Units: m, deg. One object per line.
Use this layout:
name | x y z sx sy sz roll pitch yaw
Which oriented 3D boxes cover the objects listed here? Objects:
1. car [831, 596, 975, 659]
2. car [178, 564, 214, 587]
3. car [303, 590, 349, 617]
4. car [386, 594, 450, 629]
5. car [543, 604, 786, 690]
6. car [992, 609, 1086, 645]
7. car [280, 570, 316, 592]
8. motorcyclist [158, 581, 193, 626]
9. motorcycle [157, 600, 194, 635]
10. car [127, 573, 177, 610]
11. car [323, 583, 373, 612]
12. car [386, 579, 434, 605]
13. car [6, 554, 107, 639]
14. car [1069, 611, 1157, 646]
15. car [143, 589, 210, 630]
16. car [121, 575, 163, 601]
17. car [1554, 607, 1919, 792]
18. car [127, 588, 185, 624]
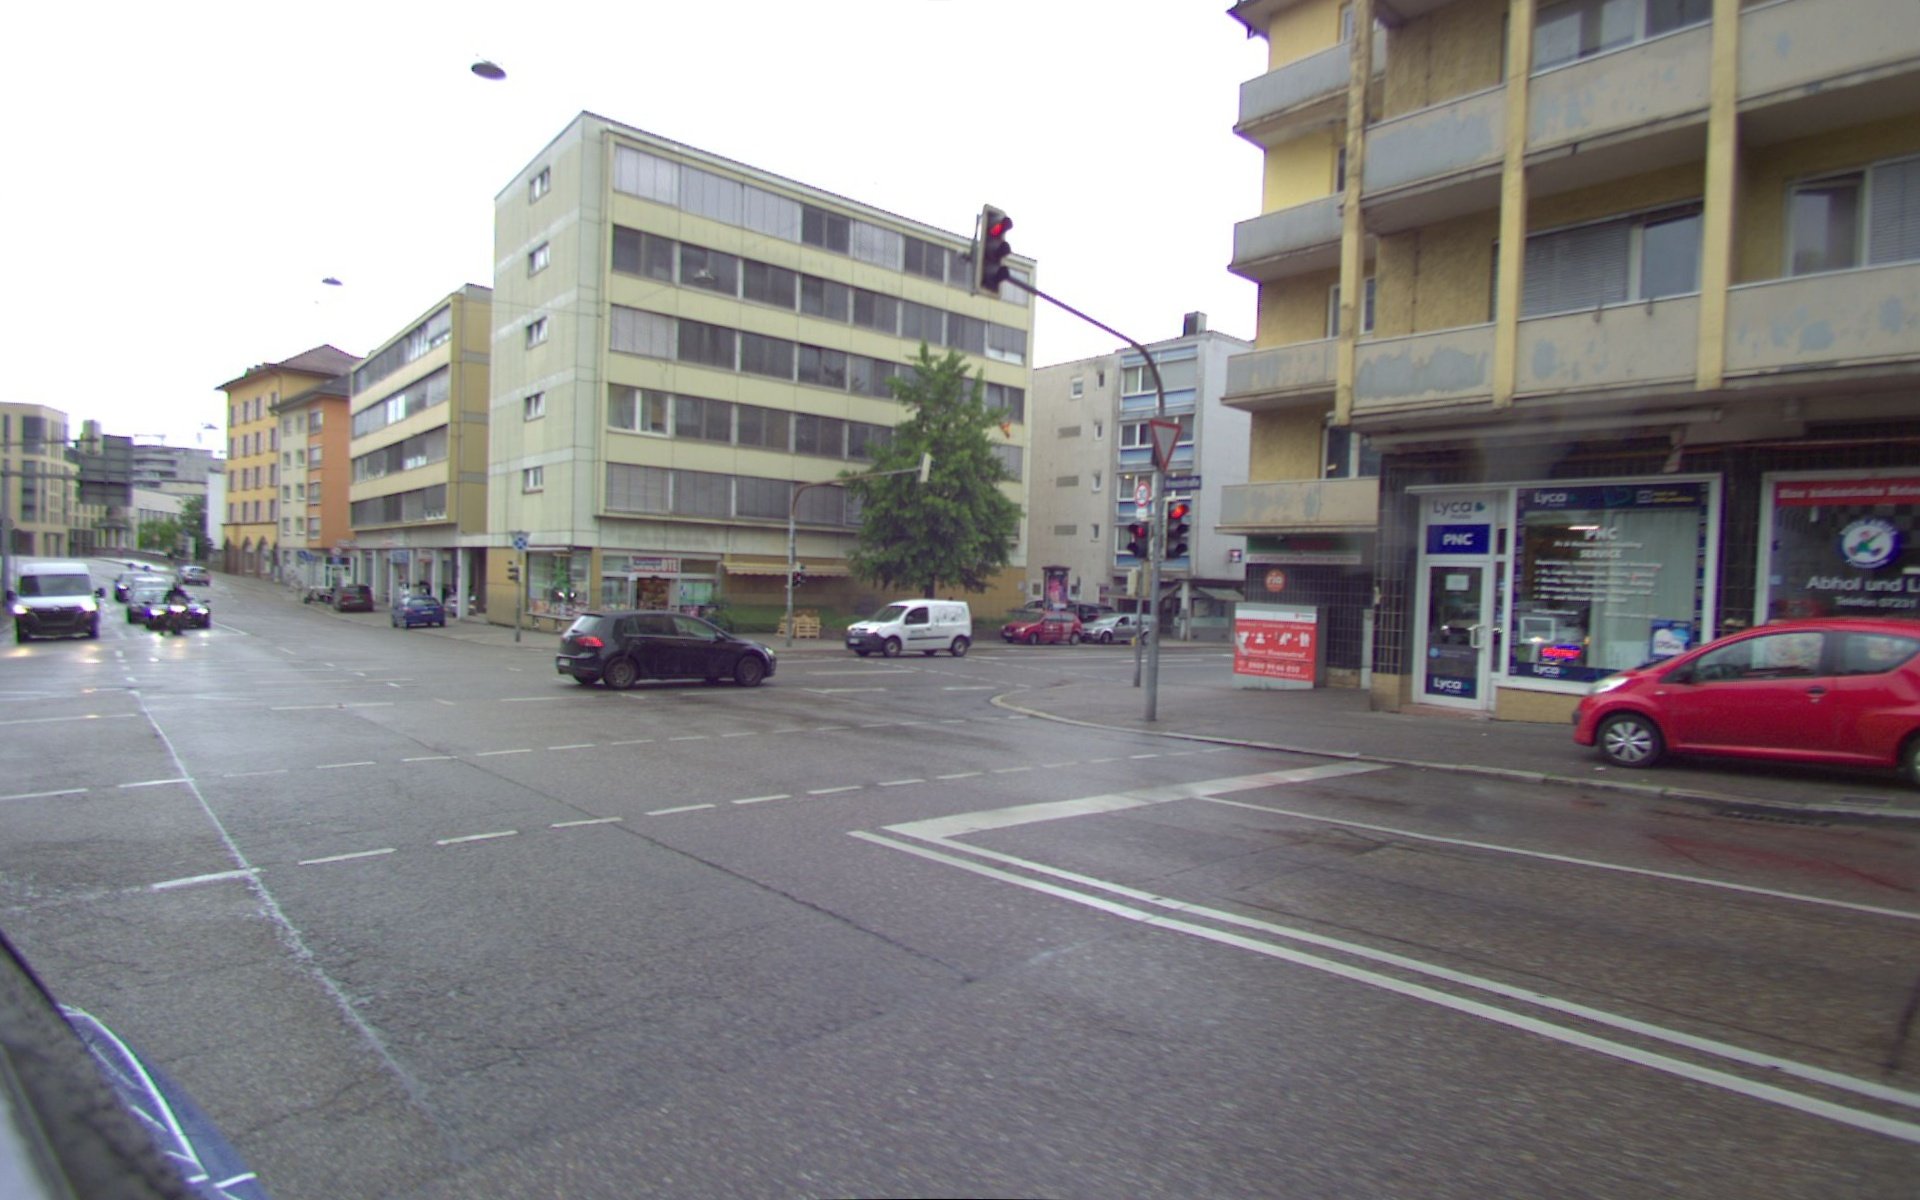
car | -1.772 0.860 32.193 4.163 1.869 1.995 2 -1 -39
car | -61.753 -1.978 81.817 1.822 1.721 4.374 1 2 -43
car | -39.788 0.188 63.455 1.821 1.579 4.377 -3 2 -40
car | -24.623 0.492 45.926 1.821 1.430 3.575 -3 2 -40
car | -5.548 0.866 19.300 4.102 1.435 1.690 2 0 -41
car | 3.436 1.169 43.883 3.827 1.437 1.729 1 1 -36
car | -51.952 -1.479 79.348 1.821 1.579 4.377 -3 2 -40
motorcyclist | -26.057 0.114 33.613 0.866 1.490 0.797 1 0 -41
motorcycle | -26.028 0.571 33.563 0.866 1.108 1.803 1 0 -40
car | -40.329 -0.441 50.477 1.821 1.727 3.575 -3 2 -40
car | -35.994 -0.144 59.476 1.821 1.579 4.377 -3 2 -40
car | -35.917 -0.548 66.010 1.821 1.579 4.376 -3 2 -40
car | -29.379 -0.152 33.064 2.198 2.543 5.480 -2 1 -40
car | 7.078 1.316 46.697 3.827 1.437 1.729 1 1 -36
car | -29.537 0.321 38.120 1.821 1.430 3.575 -3 2 -40
car | -47.683 -0.713 58.967 1.821 1.430 3.575 -3 2 -40
car | 7.886 0.834 9.618 1.590 1.475 3.539 -2 1 -41
car | -34.413 0.218 43.308 1.821 1.430 3.575 -3 2 -40
